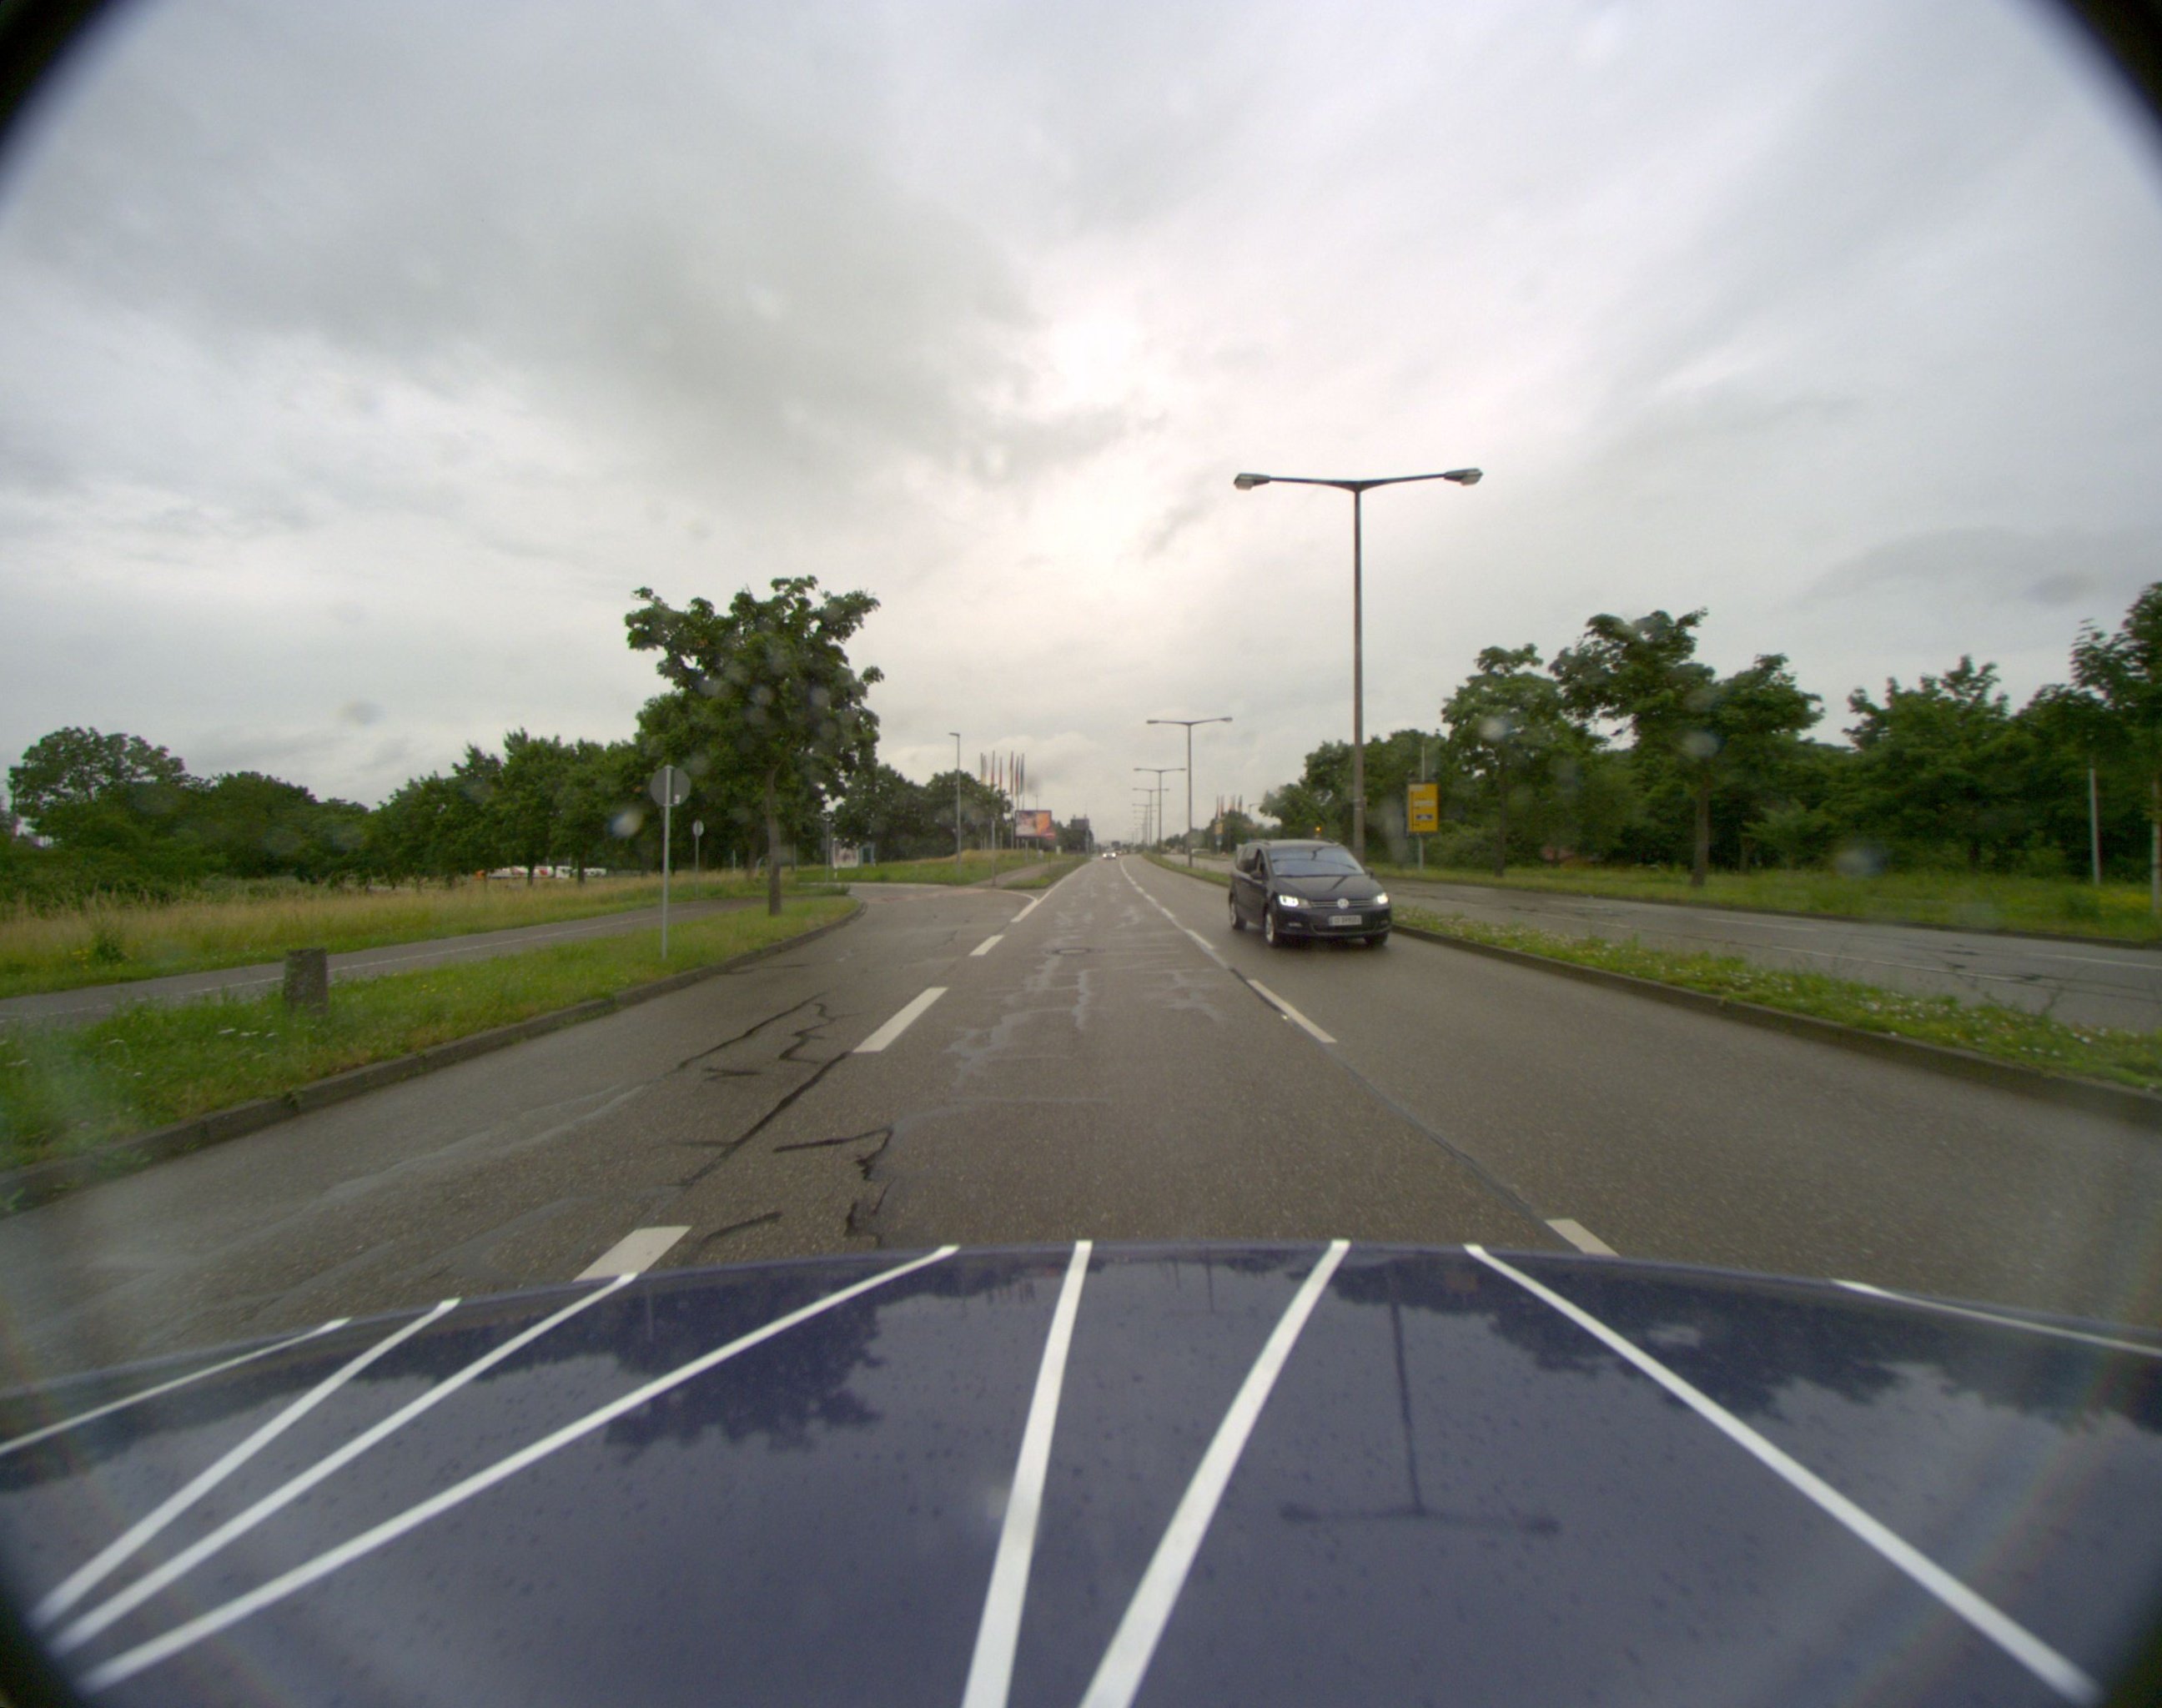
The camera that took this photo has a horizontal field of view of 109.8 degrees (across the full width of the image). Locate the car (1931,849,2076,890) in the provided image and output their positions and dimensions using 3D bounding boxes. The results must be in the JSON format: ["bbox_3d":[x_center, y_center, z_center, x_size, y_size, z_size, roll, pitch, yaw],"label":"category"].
[{"bbox_3d":[39.274,0.647,32.431,3.998,1.675,1.999,0,0,-4],"label":"car"}]

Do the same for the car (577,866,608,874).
[{"bbox_3d":[-106.797,3.436,166.122,5.293,1.597,2.237,-1,1,-17],"label":"car"}]

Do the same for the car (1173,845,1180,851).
[{"bbox_3d":[29.299,-1.797,232.950,1.711,1.619,4.495,2,-2,3],"label":"car"}]

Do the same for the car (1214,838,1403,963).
[{"bbox_3d":[3.716,0.671,13.396,1.850,1.740,4.817,-2,0,0],"label":"car"}]

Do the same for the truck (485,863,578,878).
[{"bbox_3d":[-108.719,3.264,150.641,14.635,2.715,3.501,-1,1,-16],"label":"truck"}]

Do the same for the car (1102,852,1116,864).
[{"bbox_3d":[4.175,0.528,111.660,1.998,1.701,4.000,-1,1,2],"label":"car"}]
